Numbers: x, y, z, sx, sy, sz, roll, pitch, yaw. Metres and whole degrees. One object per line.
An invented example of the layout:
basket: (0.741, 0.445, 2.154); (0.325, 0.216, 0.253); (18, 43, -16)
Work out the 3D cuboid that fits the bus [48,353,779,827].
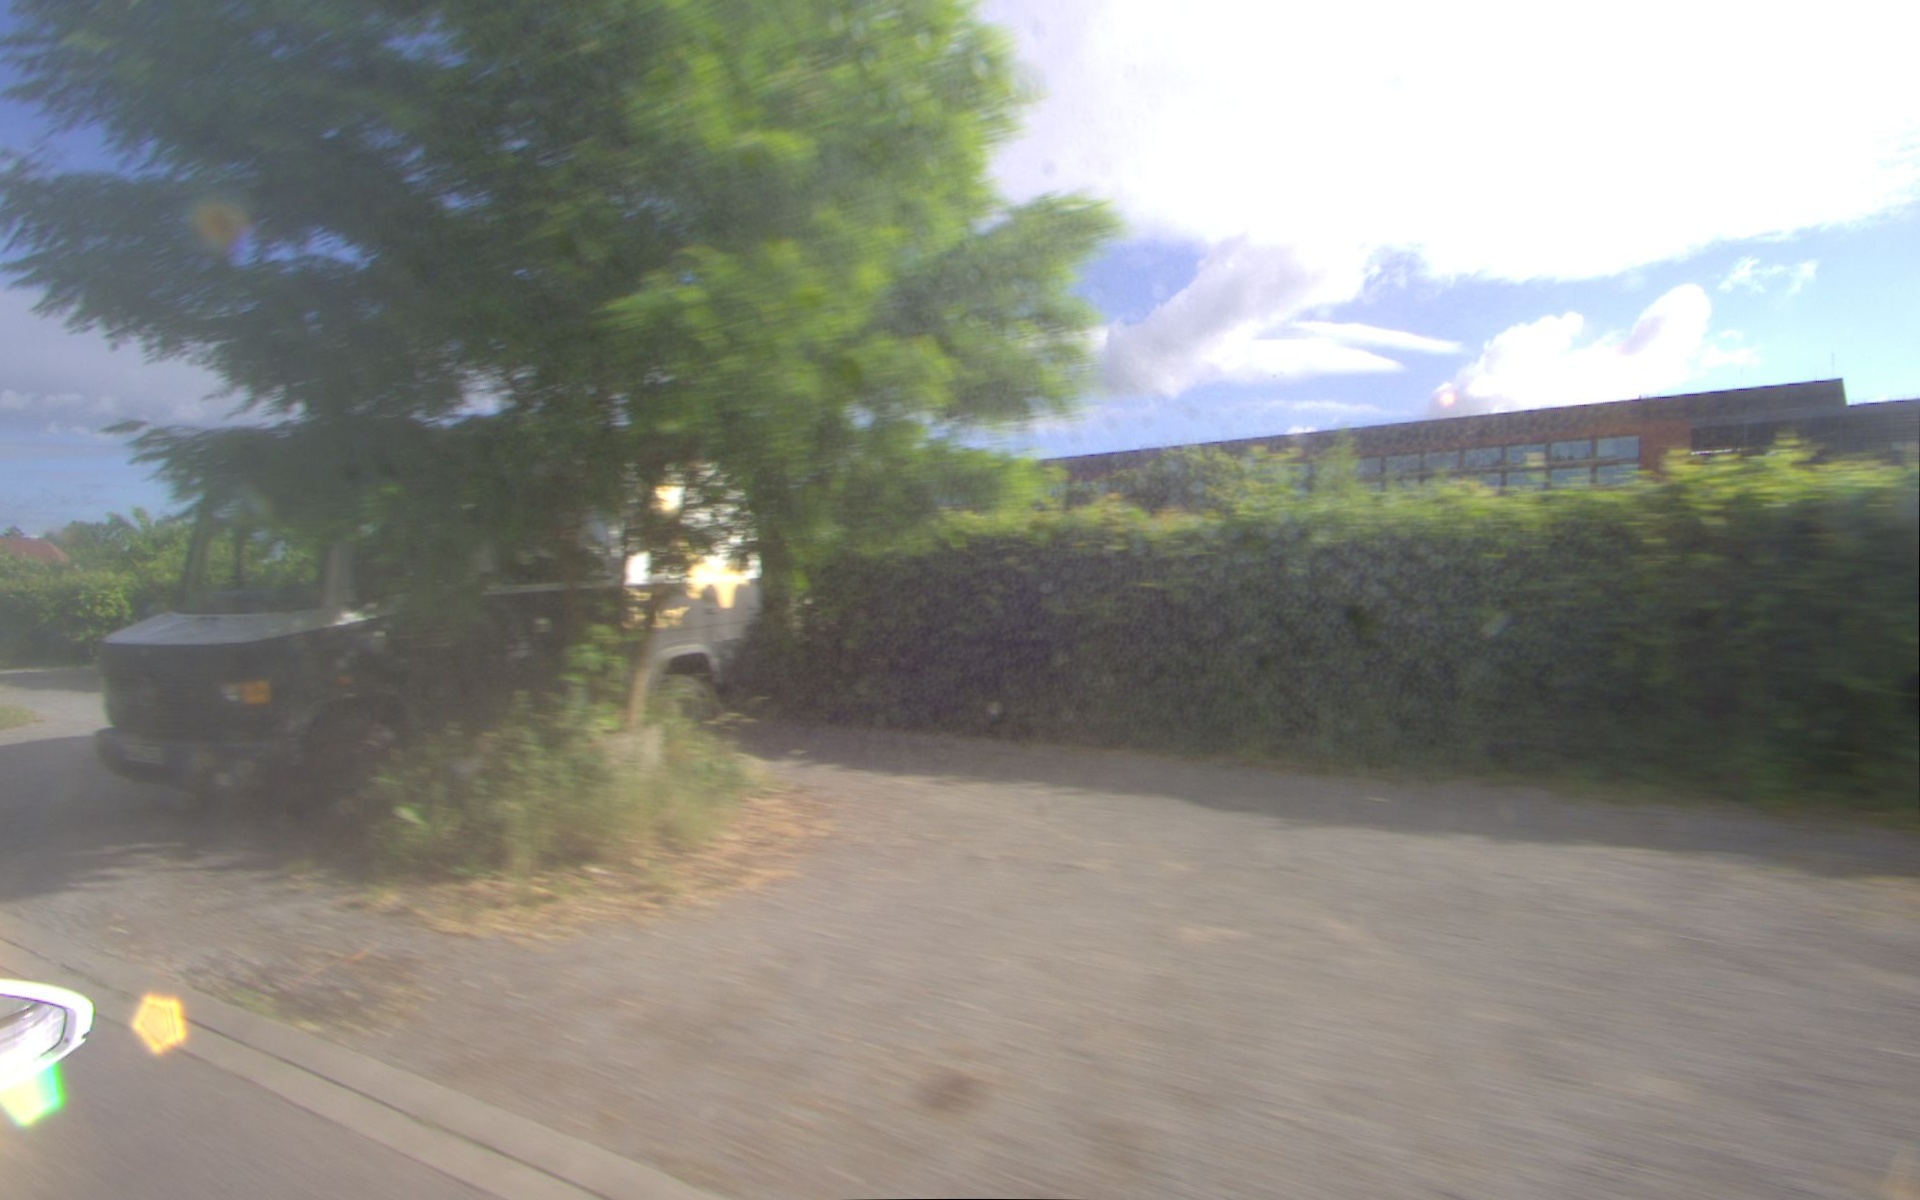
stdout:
bus: (-4.062, -0.100, 8.745); (2.036, 2.784, 5.360); (1, 1, 27)
